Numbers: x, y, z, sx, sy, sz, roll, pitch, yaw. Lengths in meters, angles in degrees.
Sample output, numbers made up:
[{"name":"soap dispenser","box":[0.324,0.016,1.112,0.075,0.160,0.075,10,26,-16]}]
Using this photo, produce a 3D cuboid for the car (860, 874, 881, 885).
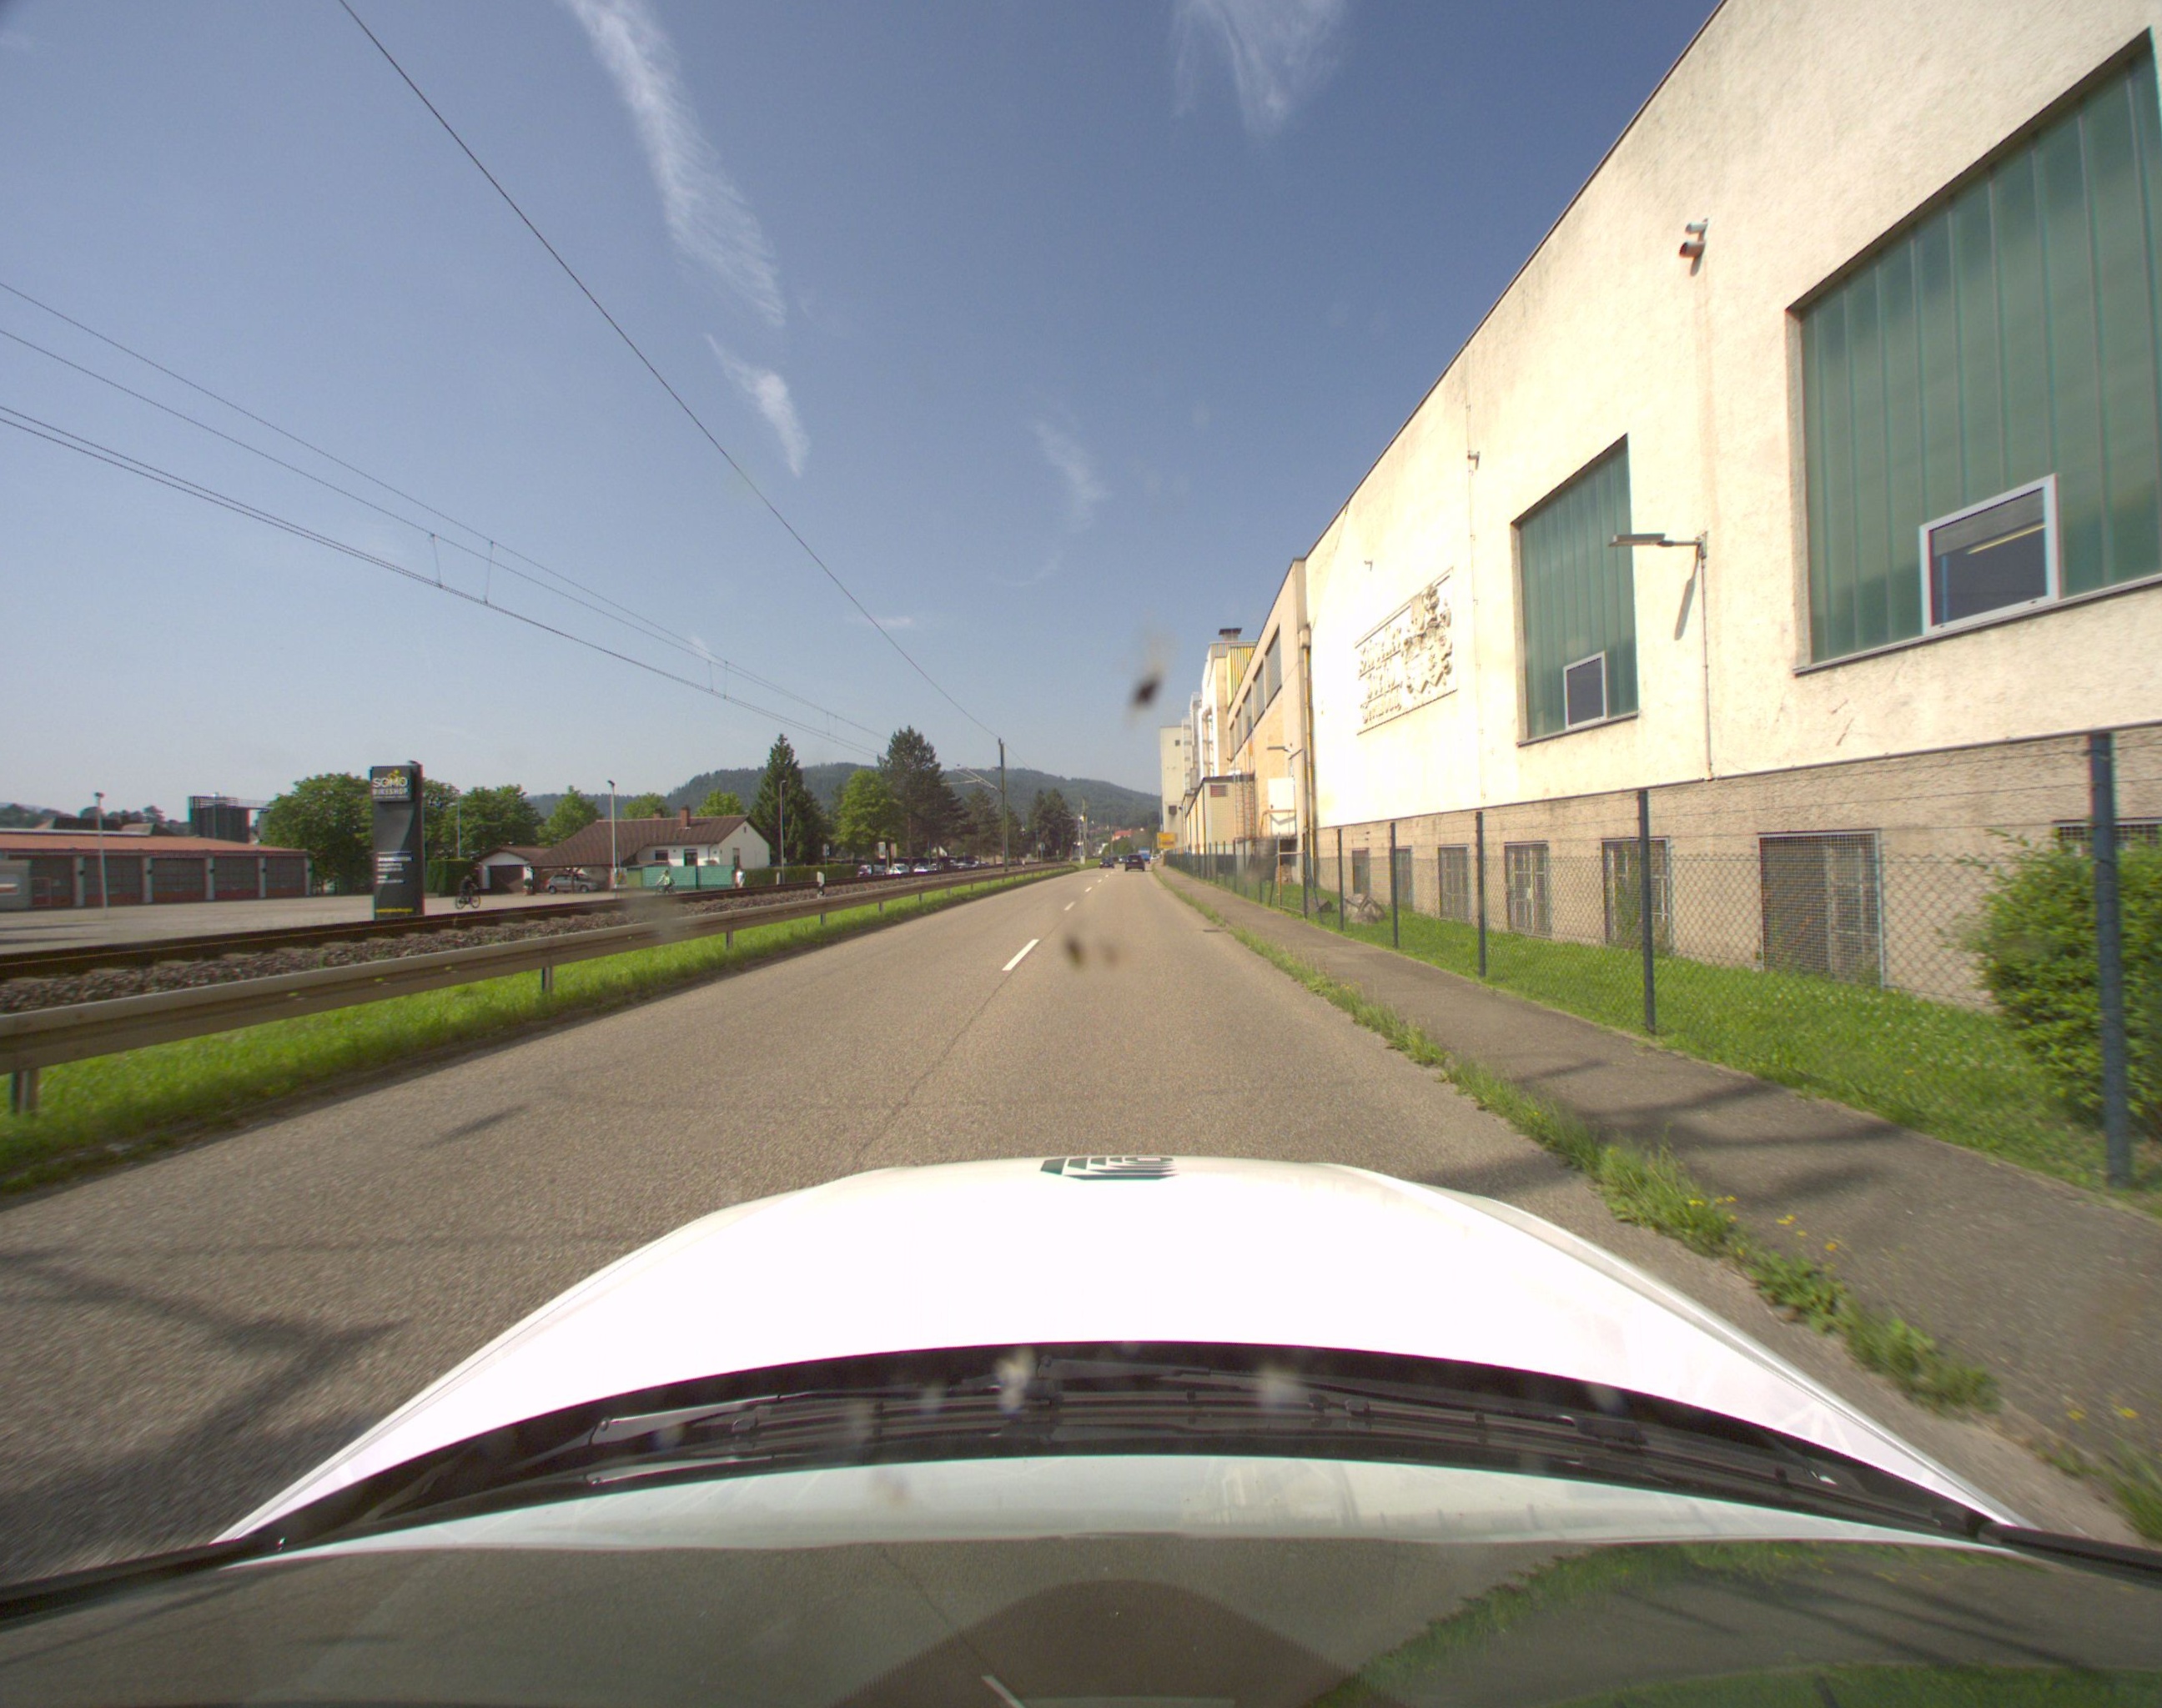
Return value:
[{"name":"car","box":[-32.025,3.853,124.041,1.696,1.642,3.808,-2,-1,-39]}]

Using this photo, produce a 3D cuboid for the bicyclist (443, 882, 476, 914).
[{"name":"bicyclist","box":[-32.650,2.308,42.797,0.742,1.620,1.147,-2,-1,5]}]

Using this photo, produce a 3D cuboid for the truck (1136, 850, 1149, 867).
[{"name":"truck","box":[11.731,0.839,155.181,2.302,2.970,5.971,-2,0,3]}]

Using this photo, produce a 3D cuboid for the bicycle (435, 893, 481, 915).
[{"name":"bicycle","box":[-32.649,2.623,42.698,0.751,1.017,1.965,-2,0,5]}]

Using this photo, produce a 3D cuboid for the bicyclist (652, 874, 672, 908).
[{"name":"bicyclist","box":[-21.517,1.891,41.841,0.531,1.647,0.832,-2,-1,0]}]

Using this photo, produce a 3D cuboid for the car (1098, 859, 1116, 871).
[{"name":"car","box":[3.211,1.331,99.641,1.755,1.403,4.127,-1,0,7]}]

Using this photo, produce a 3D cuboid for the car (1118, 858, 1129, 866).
[{"name":"car","box":[8.032,1.518,153.268,1.898,1.600,4.576,-1,-1,5]}]

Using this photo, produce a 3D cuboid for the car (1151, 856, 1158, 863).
[{"name":"car","box":[20.066,1.406,222.962,1.658,1.823,3.758,-2,0,6]}]

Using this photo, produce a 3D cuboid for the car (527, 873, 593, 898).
[{"name":"car","box":[-39.009,2.359,60.989,3.819,1.651,1.714,-2,0,3]}]

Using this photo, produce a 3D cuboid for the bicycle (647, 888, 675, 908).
[{"name":"bicycle","box":[-21.501,2.255,41.725,0.543,0.923,1.710,-2,0,0]}]

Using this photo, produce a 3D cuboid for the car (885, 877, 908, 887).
[{"name":"car","box":[-26.637,4.074,117.626,1.696,1.443,3.808,-2,-1,-39]}]

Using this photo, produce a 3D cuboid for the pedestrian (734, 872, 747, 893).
[{"name":"pedestrian","box":[-22.190,1.846,53.060,0.572,1.332,0.673,-2,-1,-4]}]

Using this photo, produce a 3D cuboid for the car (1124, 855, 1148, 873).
[{"name":"car","box":[5.278,0.917,77.696,1.909,1.640,4.009,-2,0,8]}]
